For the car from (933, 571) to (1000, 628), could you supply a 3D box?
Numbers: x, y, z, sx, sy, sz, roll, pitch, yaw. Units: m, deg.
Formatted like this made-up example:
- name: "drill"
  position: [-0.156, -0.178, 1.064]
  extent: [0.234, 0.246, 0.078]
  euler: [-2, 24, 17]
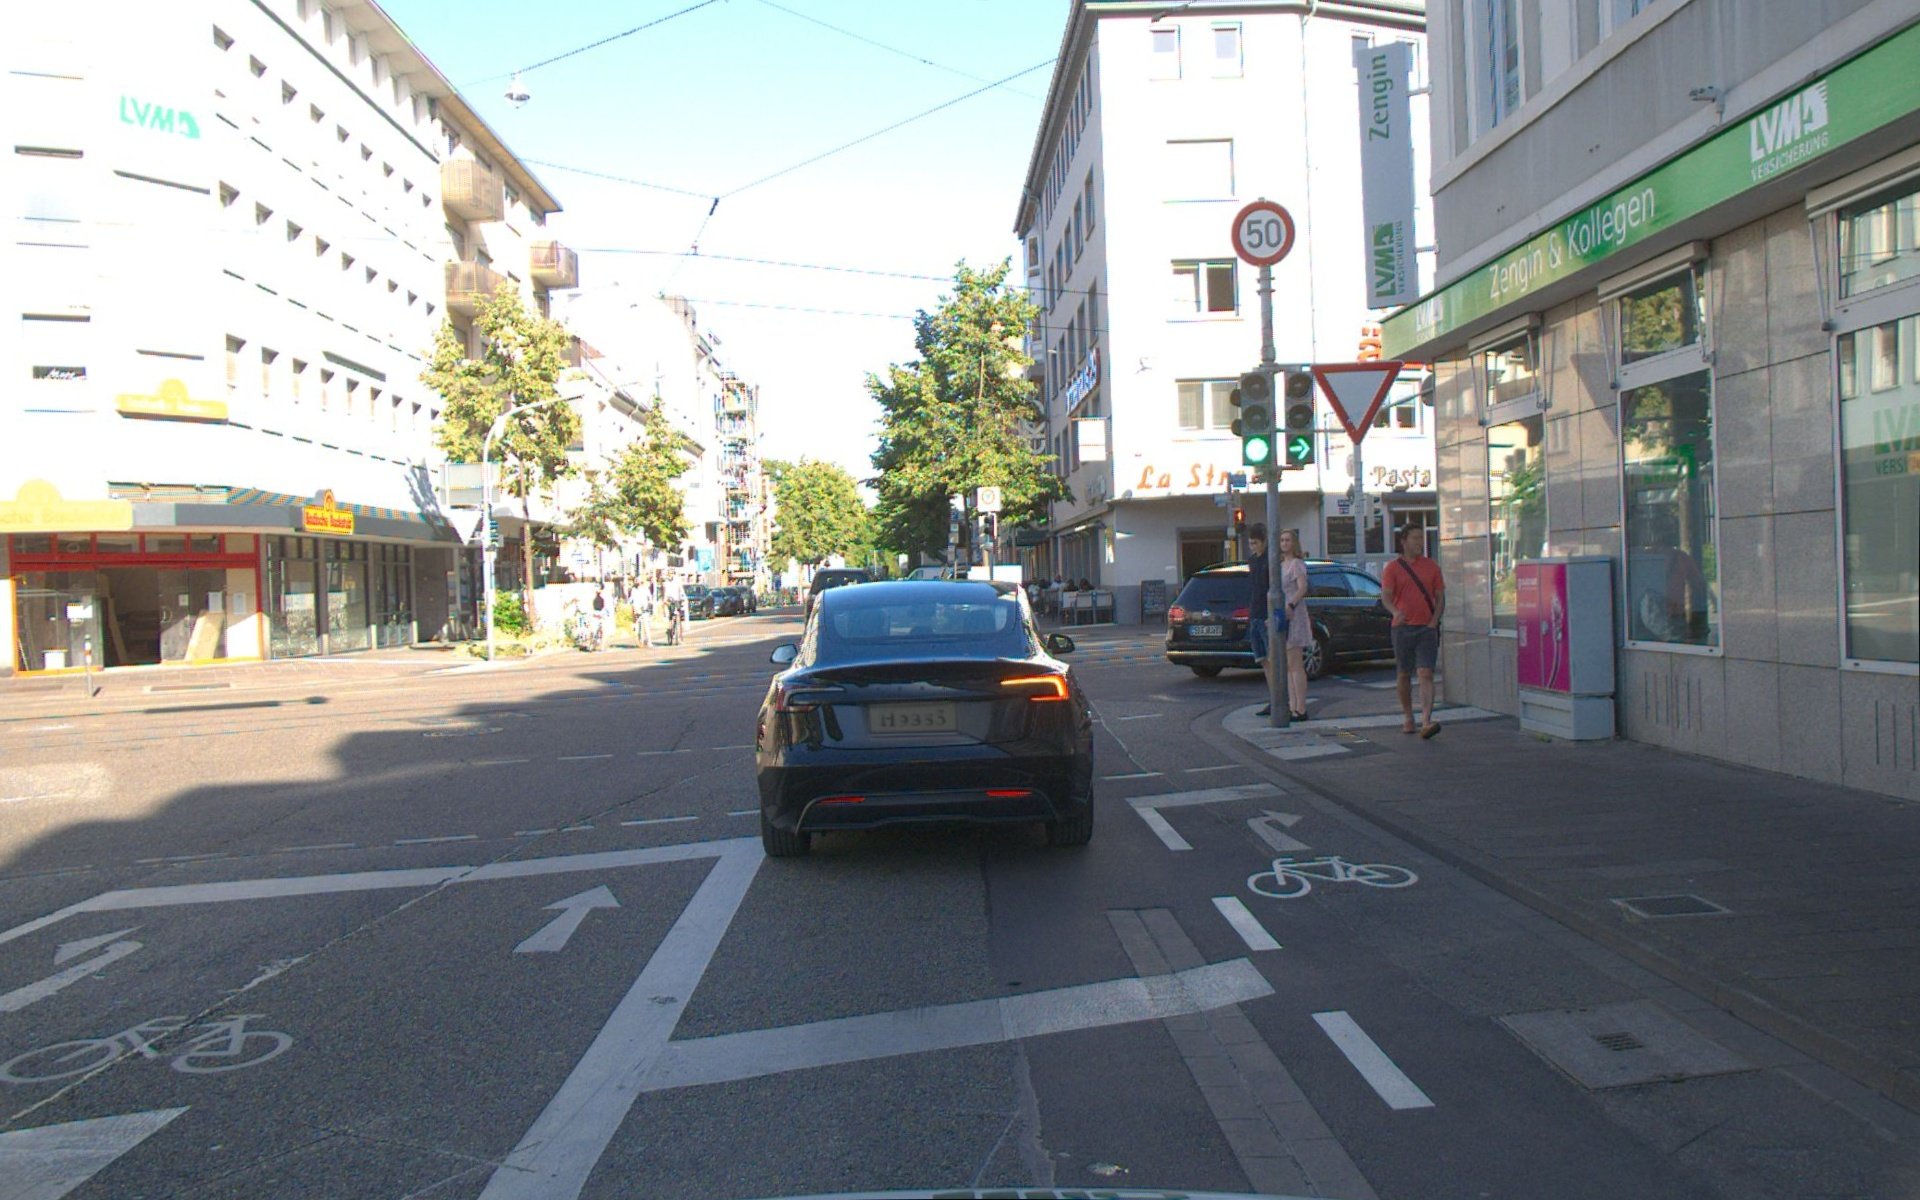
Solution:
- name: "car"
  position: [0.169, -0.049, 52.206]
  extent: [1.960, 1.665, 4.287]
  euler: [-2, 1, -1]

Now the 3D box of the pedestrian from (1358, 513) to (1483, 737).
- name: "pedestrian"
  position: [3.739, 0.191, 13.478]
  extent: [0.676, 1.732, 0.912]
  euler: [-3, 1, 0]

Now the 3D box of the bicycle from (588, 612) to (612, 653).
- name: "bicycle"
  position: [-8.951, 0.791, 41.068]
  extent: [0.472, 0.972, 1.449]
  euler: [-3, 0, -15]

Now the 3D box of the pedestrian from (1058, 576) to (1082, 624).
- name: "pedestrian"
  position: [3.104, 0.002, 46.618]
  extent: [0.574, 1.335, 0.560]
  euler: [-3, 0, -2]

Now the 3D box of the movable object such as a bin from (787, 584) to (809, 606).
- name: "movable object such as a bin"
  position: [-11.086, -0.361, 113.272]
  extent: [1.289, 1.432, 1.065]
  euler: [-3, 1, -19]

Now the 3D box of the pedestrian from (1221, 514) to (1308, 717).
- name: "pedestrian"
  position: [2.913, 0.142, 15.862]
  extent: [0.627, 1.874, 0.681]
  euler: [-2, 1, -2]

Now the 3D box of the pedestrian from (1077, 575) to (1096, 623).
- name: "pedestrian"
  position: [3.625, -0.029, 47.413]
  extent: [0.477, 1.345, 0.654]
  euler: [-2, 0, 6]

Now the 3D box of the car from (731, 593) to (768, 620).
- name: "car"
  position: [-11.777, 0.361, 92.688]
  extent: [1.750, 1.427, 3.904]
  euler: [-2, 1, -3]

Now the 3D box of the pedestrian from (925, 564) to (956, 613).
- name: "pedestrian"
  position: [-0.806, -0.480, 68.644]
  extent: [0.937, 1.949, 1.106]
  euler: [-2, 0, 14]

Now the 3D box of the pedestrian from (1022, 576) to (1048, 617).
- name: "pedestrian"
  position: [2.585, -0.120, 57.210]
  extent: [0.695, 1.371, 1.059]
  euler: [-3, 0, -5]

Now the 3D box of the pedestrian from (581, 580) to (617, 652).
- name: "pedestrian"
  position: [-8.896, 0.386, 40.723]
  extent: [0.778, 1.742, 0.651]
  euler: [-2, 0, -17]

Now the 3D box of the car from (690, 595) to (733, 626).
- name: "car"
  position: [-12.410, 0.489, 82.724]
  extent: [1.750, 1.427, 3.904]
  euler: [-2, 1, -3]

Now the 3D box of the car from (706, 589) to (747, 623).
- name: "car"
  position: [-12.382, 0.306, 87.817]
  extent: [1.684, 1.638, 3.596]
  euler: [-3, 1, -2]

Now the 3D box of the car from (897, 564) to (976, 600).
- name: "car"
  position: [-1.664, -1.239, 113.886]
  extent: [5.284, 2.183, 1.999]
  euler: [-3, 0, -3]

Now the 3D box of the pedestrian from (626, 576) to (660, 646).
- name: "pedestrian"
  position: [-8.028, 0.276, 41.919]
  extent: [0.765, 1.758, 0.557]
  euler: [-2, 0, -16]

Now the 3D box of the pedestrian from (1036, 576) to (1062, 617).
- name: "pedestrian"
  position: [3.008, -0.121, 56.113]
  extent: [0.716, 1.371, 1.059]
  euler: [-3, 0, -4]

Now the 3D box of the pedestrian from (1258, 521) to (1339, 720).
- name: "pedestrian"
  position: [3.126, 0.178, 15.325]
  extent: [0.561, 1.790, 0.649]
  euler: [-1, 0, -2]

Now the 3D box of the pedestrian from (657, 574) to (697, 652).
- name: "pedestrian"
  position: [-7.176, 0.319, 41.959]
  extent: [0.766, 1.898, 0.997]
  euler: [-5, 1, -16]

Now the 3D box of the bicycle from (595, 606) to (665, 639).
- name: "bicycle"
  position: [-11.604, 0.792, 58.122]
  extent: [2.355, 1.023, 0.654]
  euler: [-3, 0, -13]

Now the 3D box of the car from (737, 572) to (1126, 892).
- name: "car"
  position: [-0.154, 0.606, 10.208]
  extent: [1.831, 1.452, 4.364]
  euler: [-2, 1, -1]

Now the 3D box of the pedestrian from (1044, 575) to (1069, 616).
- name: "pedestrian"
  position: [3.347, -0.157, 57.393]
  extent: [0.716, 1.384, 0.958]
  euler: [-3, 0, -2]

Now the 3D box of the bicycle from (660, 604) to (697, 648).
- name: "bicycle"
  position: [-7.153, 0.648, 41.916]
  extent: [0.745, 1.025, 1.719]
  euler: [-5, 1, -13]

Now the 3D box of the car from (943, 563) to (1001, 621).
- name: "car"
  position: [0.393, -0.300, 58.640]
  extent: [1.865, 1.884, 4.287]
  euler: [-2, 1, -1]

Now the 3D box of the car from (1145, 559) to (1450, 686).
- name: "car"
  position: [4.472, 0.238, 21.525]
  extent: [4.320, 1.443, 1.739]
  euler: [-2, 1, -44]

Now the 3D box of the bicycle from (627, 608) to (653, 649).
- name: "bicycle"
  position: [-8.087, 0.706, 41.781]
  extent: [0.543, 0.985, 1.789]
  euler: [-3, 0, -13]

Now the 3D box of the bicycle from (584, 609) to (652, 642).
- name: "bicycle"
  position: [-11.428, 0.843, 55.242]
  extent: [2.182, 0.975, 0.653]
  euler: [-3, 0, -14]

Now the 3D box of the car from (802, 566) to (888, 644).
- name: "car"
  position: [-2.785, 0.089, 40.834]
  extent: [1.865, 1.763, 4.287]
  euler: [-2, 1, -1]

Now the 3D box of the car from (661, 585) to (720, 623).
- name: "car"
  position: [-12.181, 0.159, 75.008]
  extent: [1.953, 1.626, 4.000]
  euler: [-1, 1, 0]

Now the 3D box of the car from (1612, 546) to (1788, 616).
- name: "car"
  position: [18.269, -0.473, 40.818]
  extent: [4.074, 1.471, 1.705]
  euler: [-3, -2, -26]
